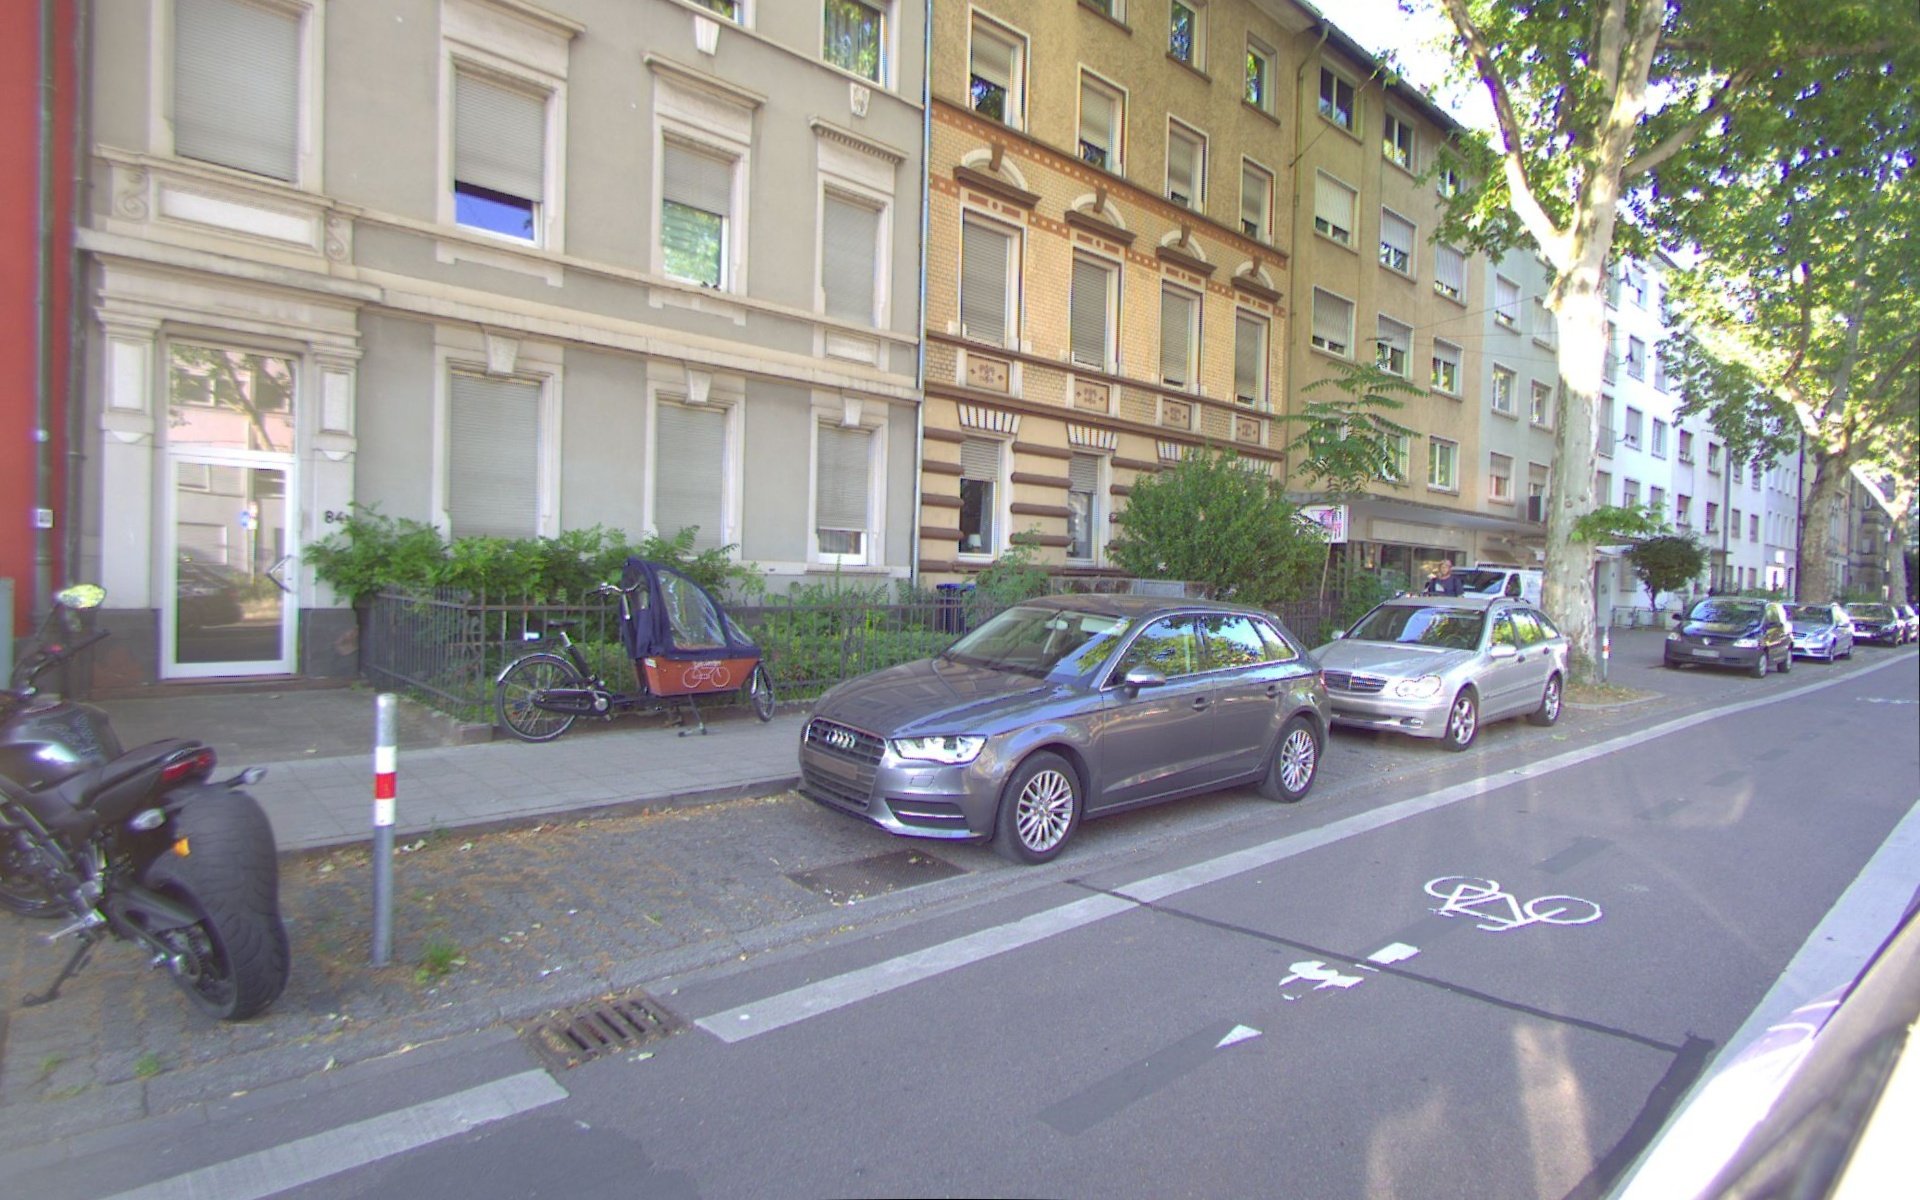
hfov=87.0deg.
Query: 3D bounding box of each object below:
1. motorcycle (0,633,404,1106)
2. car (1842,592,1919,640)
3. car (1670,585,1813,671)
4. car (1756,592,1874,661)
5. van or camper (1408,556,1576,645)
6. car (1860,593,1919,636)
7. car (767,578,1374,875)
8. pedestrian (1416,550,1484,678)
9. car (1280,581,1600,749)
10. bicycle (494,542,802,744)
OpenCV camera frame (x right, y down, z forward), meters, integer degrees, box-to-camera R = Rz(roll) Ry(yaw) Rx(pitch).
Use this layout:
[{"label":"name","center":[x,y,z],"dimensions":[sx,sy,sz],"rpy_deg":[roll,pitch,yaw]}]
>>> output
[{"label":"motorcycle","center":[-3.021,0.757,3.575],"dimensions":[2.193,1.076,0.760],"rpy_deg":[4,2,28]},{"label":"car","center":[31.669,0.502,34.612],"dimensions":[4.289,1.432,1.712],"rpy_deg":[0,4,-42]},{"label":"car","center":[16.247,0.522,20.966],"dimensions":[3.932,1.564,1.656],"rpy_deg":[0,2,-42]},{"label":"car","center":[22.000,0.623,25.960],"dimensions":[4.695,1.561,1.697],"rpy_deg":[0,2,-42]},{"label":"van or camper","center":[13.180,-0.024,24.919],"dimensions":[5.299,1.946,1.945],"rpy_deg":[0,2,-42]},{"label":"car","center":[35.195,0.513,37.881],"dimensions":[4.289,1.432,1.712],"rpy_deg":[0,4,-42]},{"label":"car","center":[0.976,0.604,6.982],"dimensions":[4.245,1.414,1.714],"rpy_deg":[0,2,-41]},{"label":"pedestrian","center":[8.113,0.211,16.746],"dimensions":[0.995,2.038,0.683],"rpy_deg":[0,1,-45]},{"label":"car","center":[5.463,0.562,11.210],"dimensions":[4.494,1.469,1.676],"rpy_deg":[0,2,-43]},{"label":"bicycle","center":[-2.460,0.297,8.236],"dimensions":[2.354,1.445,0.608],"rpy_deg":[0,0,-41]}]
